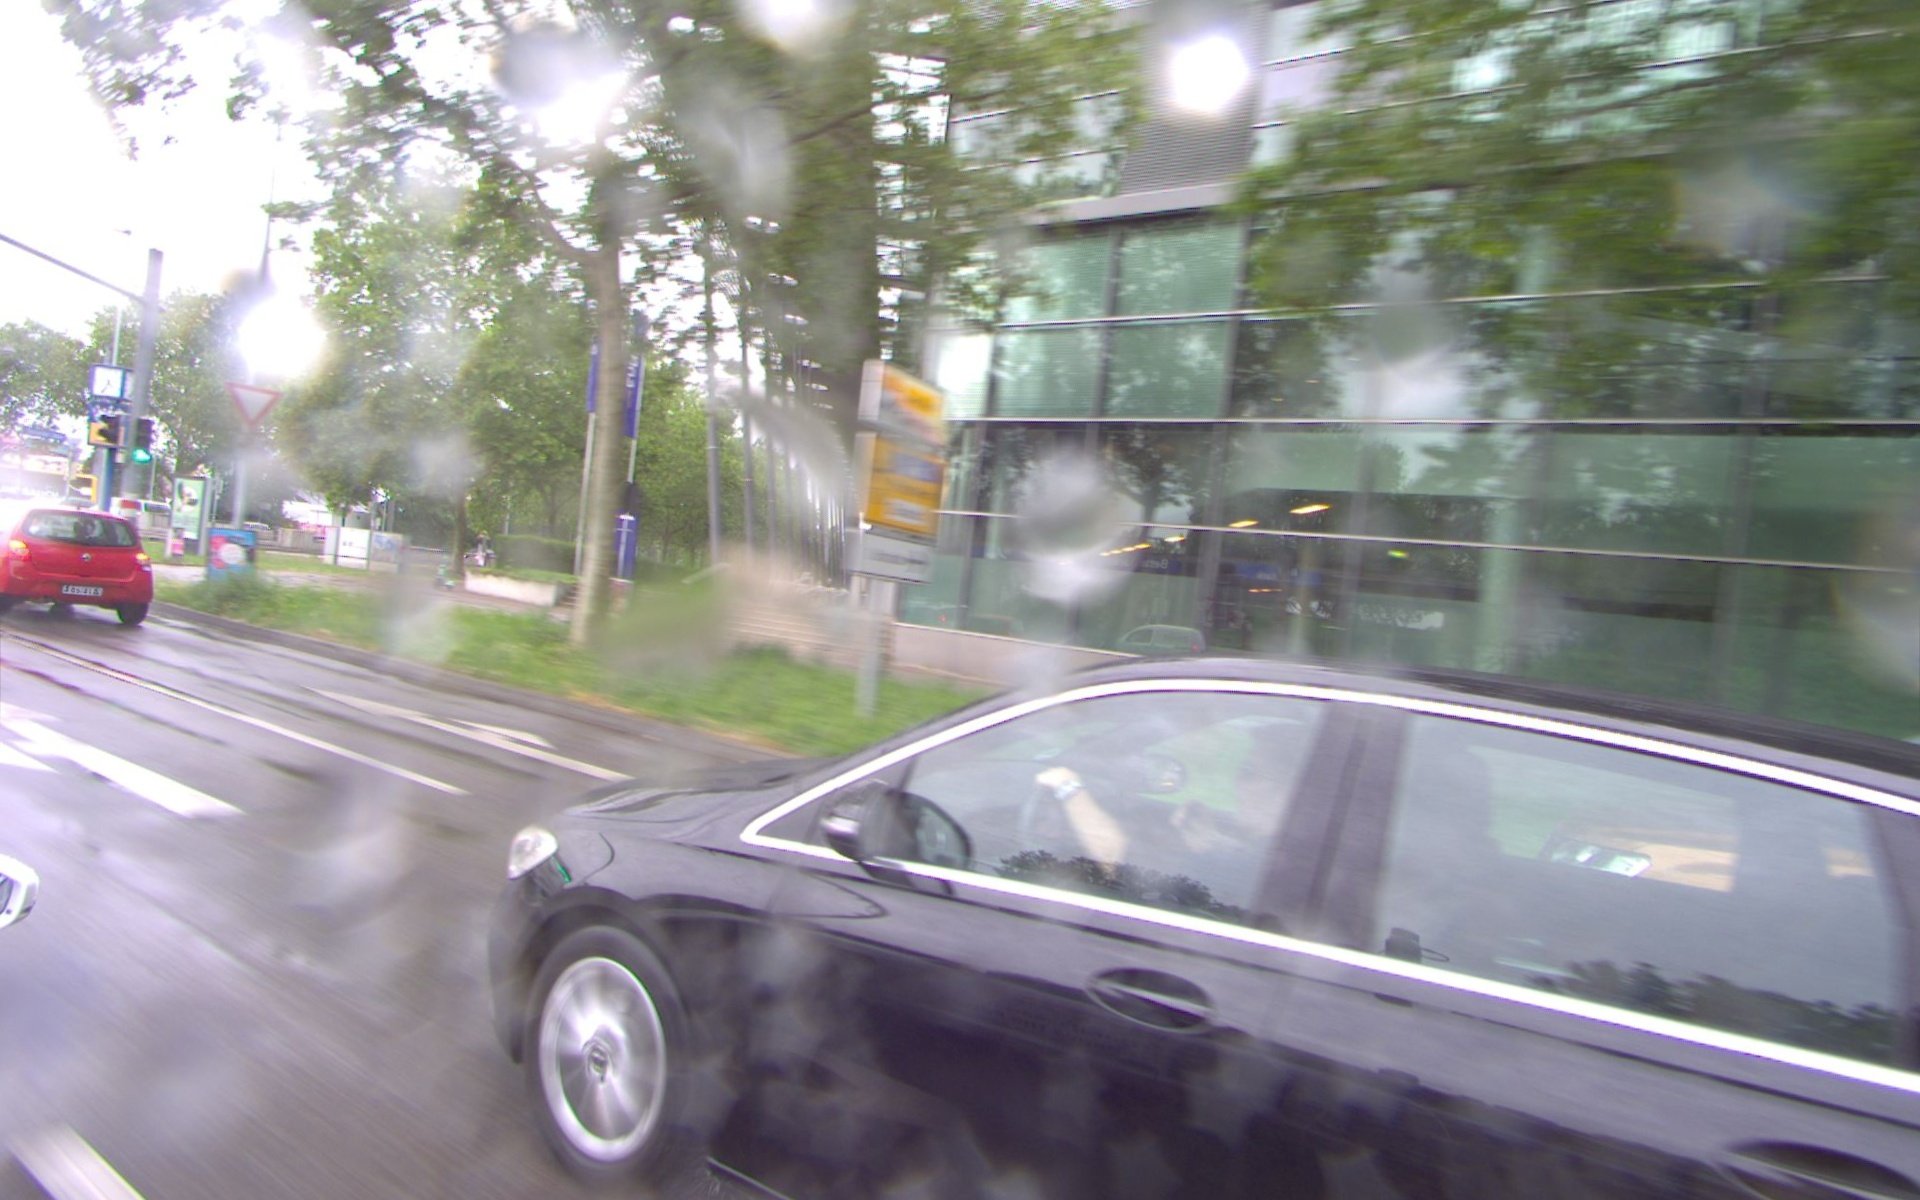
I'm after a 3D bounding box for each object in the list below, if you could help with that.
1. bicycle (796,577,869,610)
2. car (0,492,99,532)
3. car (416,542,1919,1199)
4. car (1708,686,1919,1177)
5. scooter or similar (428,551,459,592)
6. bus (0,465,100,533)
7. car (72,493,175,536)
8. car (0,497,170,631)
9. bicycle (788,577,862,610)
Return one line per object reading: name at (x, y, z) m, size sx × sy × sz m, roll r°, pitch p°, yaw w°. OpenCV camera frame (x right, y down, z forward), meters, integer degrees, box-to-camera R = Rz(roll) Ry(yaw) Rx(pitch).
bicycle at (-6.852, -0.349, 54.097) m, size 3.656 × 1.348 × 1.182 m, roll 7°, pitch 0°, yaw -31°
car at (-50.237, -4.809, 55.494) m, size 1.899 × 1.671 × 4.338 m, roll 7°, pitch 0°, yaw -5°
car at (0.724, 0.864, 2.482) m, size 4.021 × 1.542 × 1.871 m, roll 7°, pitch 0°, yaw 34°
car at (5.291, 1.407, 3.416) m, size 4.101 × 1.652 × 1.902 m, roll 7°, pitch 0°, yaw 32°
scooter or similar at (-15.091, -0.825, 29.404) m, size 0.335 × 1.153 × 1.173 m, roll 6°, pitch 1°, yaw -8°
bus at (-56.668, -6.280, 56.421) m, size 3.220 × 3.308 × 12.265 m, roll 7°, pitch 0°, yaw 31°
car at (-47.658, -4.832, 57.467) m, size 2.041 × 1.871 × 4.742 m, roll 7°, pitch 0°, yaw -5°
car at (-12.608, -0.577, 13.674) m, size 3.561 × 1.509 × 1.682 m, roll 7°, pitch -1°, yaw 31°
bicycle at (-7.550, -0.361, 56.135) m, size 3.932 × 1.349 × 1.190 m, roll 7°, pitch 0°, yaw -10°
